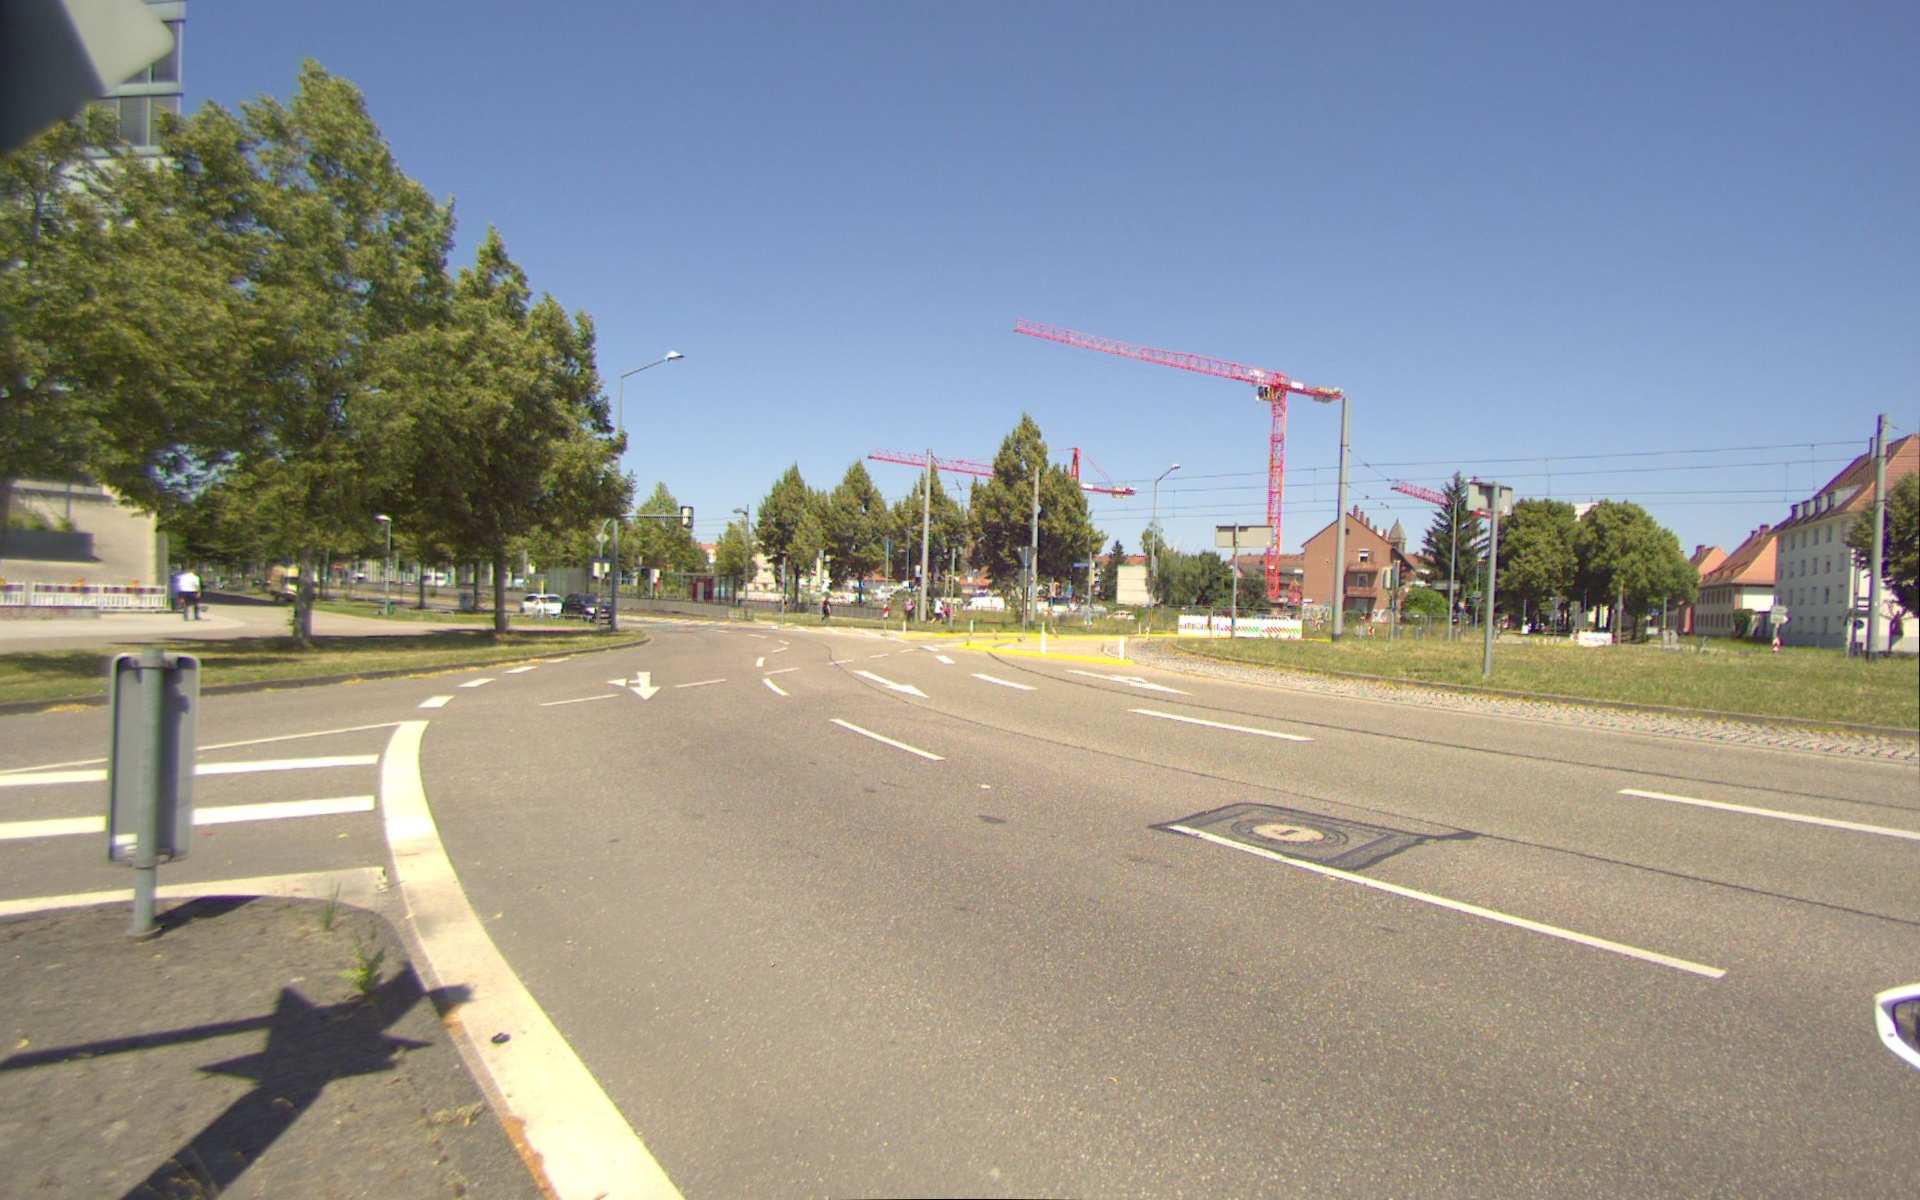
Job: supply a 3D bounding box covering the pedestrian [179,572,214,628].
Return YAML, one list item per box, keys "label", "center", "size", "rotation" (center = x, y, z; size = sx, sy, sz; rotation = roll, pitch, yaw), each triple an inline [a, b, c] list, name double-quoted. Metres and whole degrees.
- label: "pedestrian"
  center: [-26.911, -0.006, 35.418]
  size: [0.825, 1.894, 0.607]
  rotation: [3, 1, -30]

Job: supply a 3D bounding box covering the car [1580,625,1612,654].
- label: "car"
  center: [49.379, 3.070, 77.987]
  size: [1.966, 2.040, 3.989]
  rotation: [4, 1, 33]

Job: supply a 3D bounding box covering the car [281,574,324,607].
- label: "car"
  center: [-52.300, -0.758, 79.875]
  size: [3.944, 2.542, 1.988]
  rotation: [2, 0, 44]

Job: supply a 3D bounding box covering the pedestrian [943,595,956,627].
- label: "pedestrian"
  center: [-0.613, 0.667, 61.360]
  size: [0.616, 1.960, 0.647]
  rotation: [2, 0, 12]

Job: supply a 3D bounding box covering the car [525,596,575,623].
- label: "car"
  center: [-22.922, 0.528, 56.164]
  size: [1.565, 1.241, 3.282]
  rotation: [3, 1, -41]

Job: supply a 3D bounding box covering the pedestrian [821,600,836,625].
- label: "pedestrian"
  center: [-7.585, 0.711, 57.879]
  size: [0.593, 1.425, 0.537]
  rotation: [1, 0, -41]

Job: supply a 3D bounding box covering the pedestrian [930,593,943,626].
- label: "pedestrian"
  center: [-1.429, 0.579, 61.184]
  size: [0.616, 1.960, 0.647]
  rotation: [2, 0, 12]

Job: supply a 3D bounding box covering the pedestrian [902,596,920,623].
- label: "pedestrian"
  center: [-3.090, 0.596, 63.009]
  size: [0.752, 1.661, 0.774]
  rotation: [3, 1, -31]

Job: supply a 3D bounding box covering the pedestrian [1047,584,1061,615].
- label: "pedestrian"
  center: [6.320, -0.036, 67.527]
  size: [0.591, 2.040, 0.595]
  rotation: [2, 1, -44]

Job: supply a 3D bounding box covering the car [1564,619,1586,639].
- label: "car"
  center: [69.920, 3.310, 114.130]
  size: [1.966, 2.040, 3.989]
  rotation: [4, 1, 33]

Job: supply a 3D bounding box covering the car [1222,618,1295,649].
- label: "car"
  center: [17.509, 1.929, 59.054]
  size: [3.920, 1.483, 2.001]
  rotation: [4, 1, 16]

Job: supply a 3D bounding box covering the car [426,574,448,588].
- label: "car"
  center: [-81.472, -2.974, 156.398]
  size: [3.849, 2.040, 1.988]
  rotation: [4, 1, 45]

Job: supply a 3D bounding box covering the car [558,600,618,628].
- label: "car"
  center: [-19.262, 0.712, 51.899]
  size: [1.728, 1.228, 3.522]
  rotation: [3, 1, -41]
